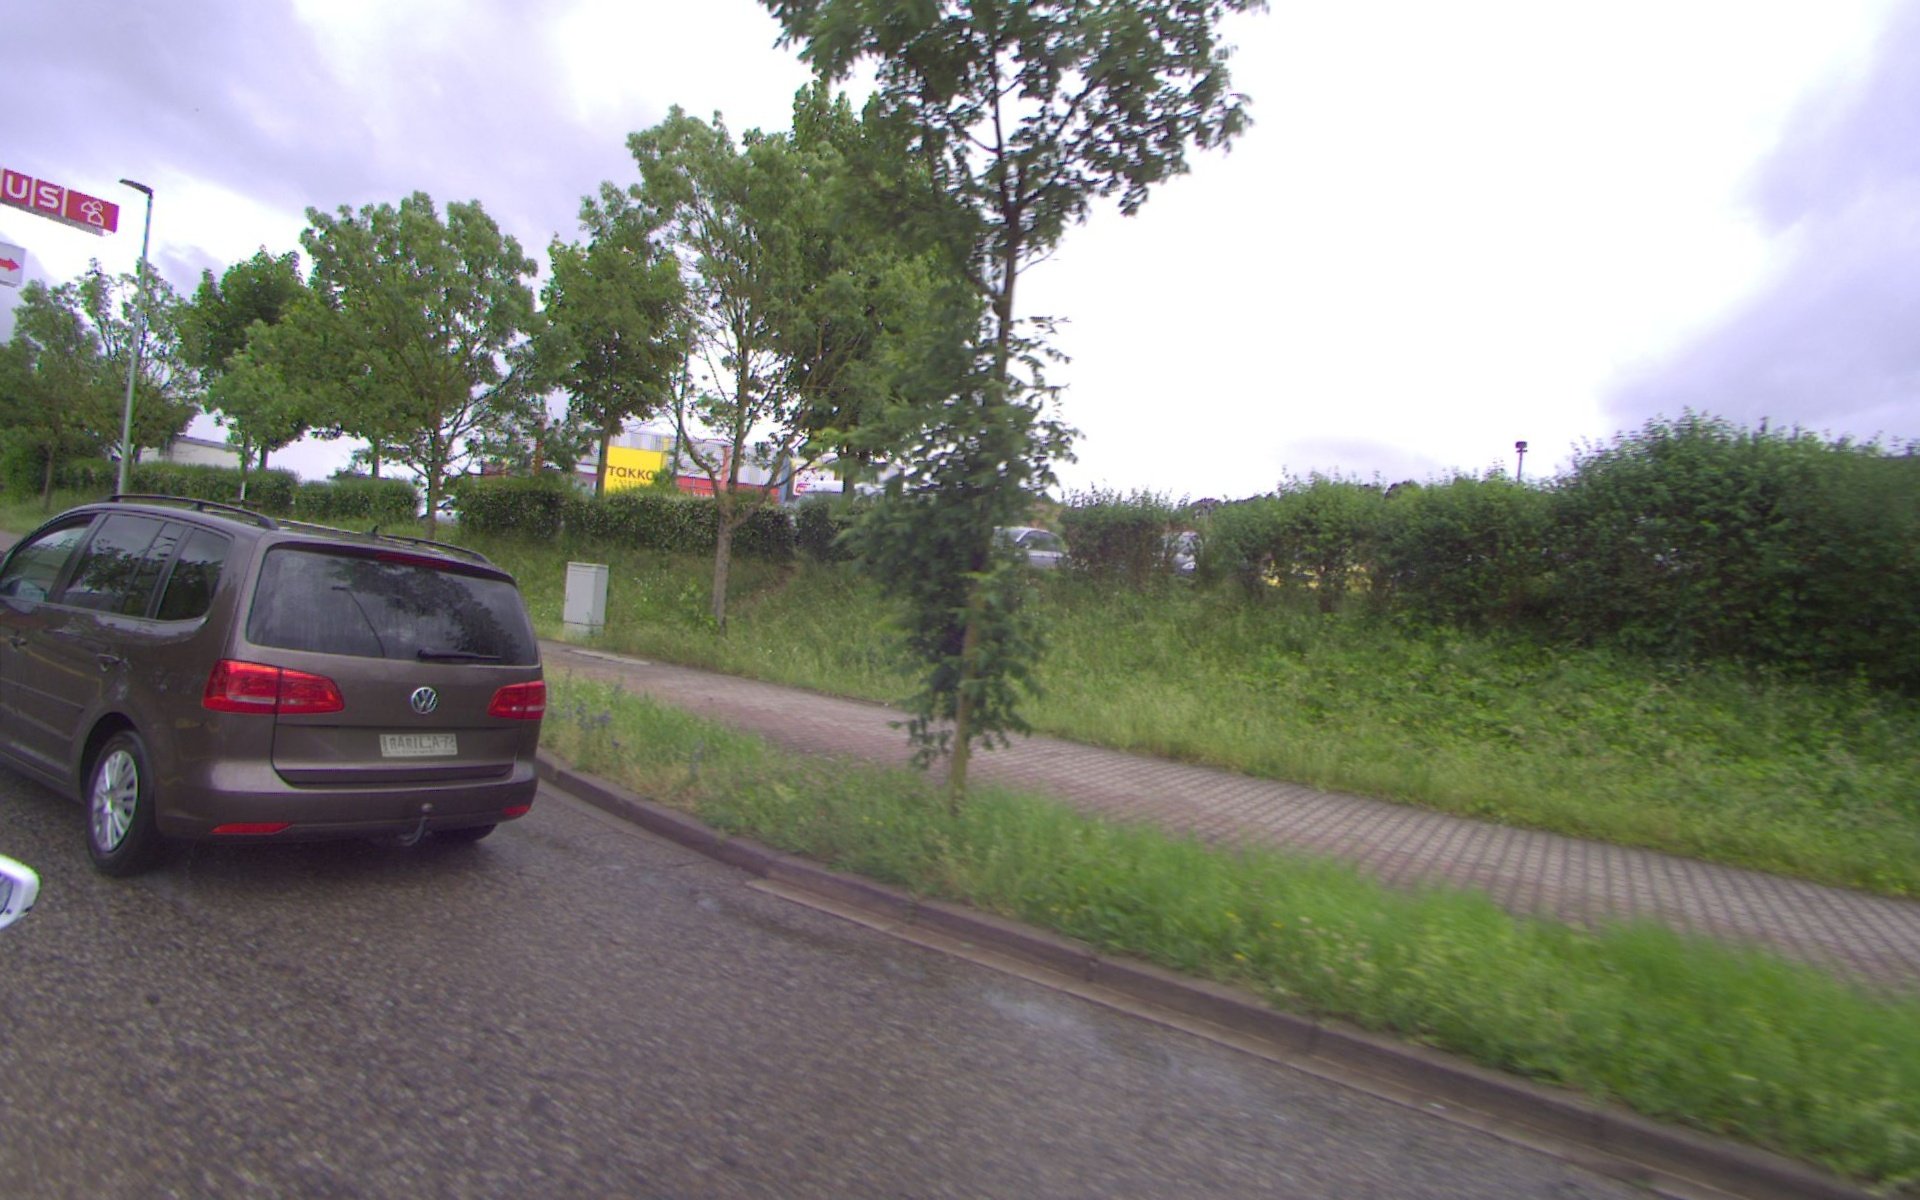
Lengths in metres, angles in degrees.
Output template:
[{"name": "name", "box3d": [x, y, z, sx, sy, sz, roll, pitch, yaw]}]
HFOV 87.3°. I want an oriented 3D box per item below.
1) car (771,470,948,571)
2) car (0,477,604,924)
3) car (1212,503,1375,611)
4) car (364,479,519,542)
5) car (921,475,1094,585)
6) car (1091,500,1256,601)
[{"name": "car", "box3d": [-2.564, -2.058, 27.472, 2.084, 2.171, 5.614, 6, 2, 25]}, {"name": "car", "box3d": [-4.159, 0.311, 5.612, 4.148, 1.599, 1.689, 7, -2, 31]}, {"name": "car", "box3d": [6.649, -0.786, 19.807, 1.836, 1.759, 3.983, 7, 3, 35]}, {"name": "car", "box3d": [-17.581, -3.014, 34.319, 1.894, 1.651, 4.351, 6, 2, 27]}, {"name": "car", "box3d": [1.350, -1.602, 24.782, 2.084, 2.171, 5.614, 6, 2, 25]}, {"name": "car", "box3d": [4.568, -0.986, 21.111, 1.836, 1.759, 3.983, 7, 3, 35]}]
